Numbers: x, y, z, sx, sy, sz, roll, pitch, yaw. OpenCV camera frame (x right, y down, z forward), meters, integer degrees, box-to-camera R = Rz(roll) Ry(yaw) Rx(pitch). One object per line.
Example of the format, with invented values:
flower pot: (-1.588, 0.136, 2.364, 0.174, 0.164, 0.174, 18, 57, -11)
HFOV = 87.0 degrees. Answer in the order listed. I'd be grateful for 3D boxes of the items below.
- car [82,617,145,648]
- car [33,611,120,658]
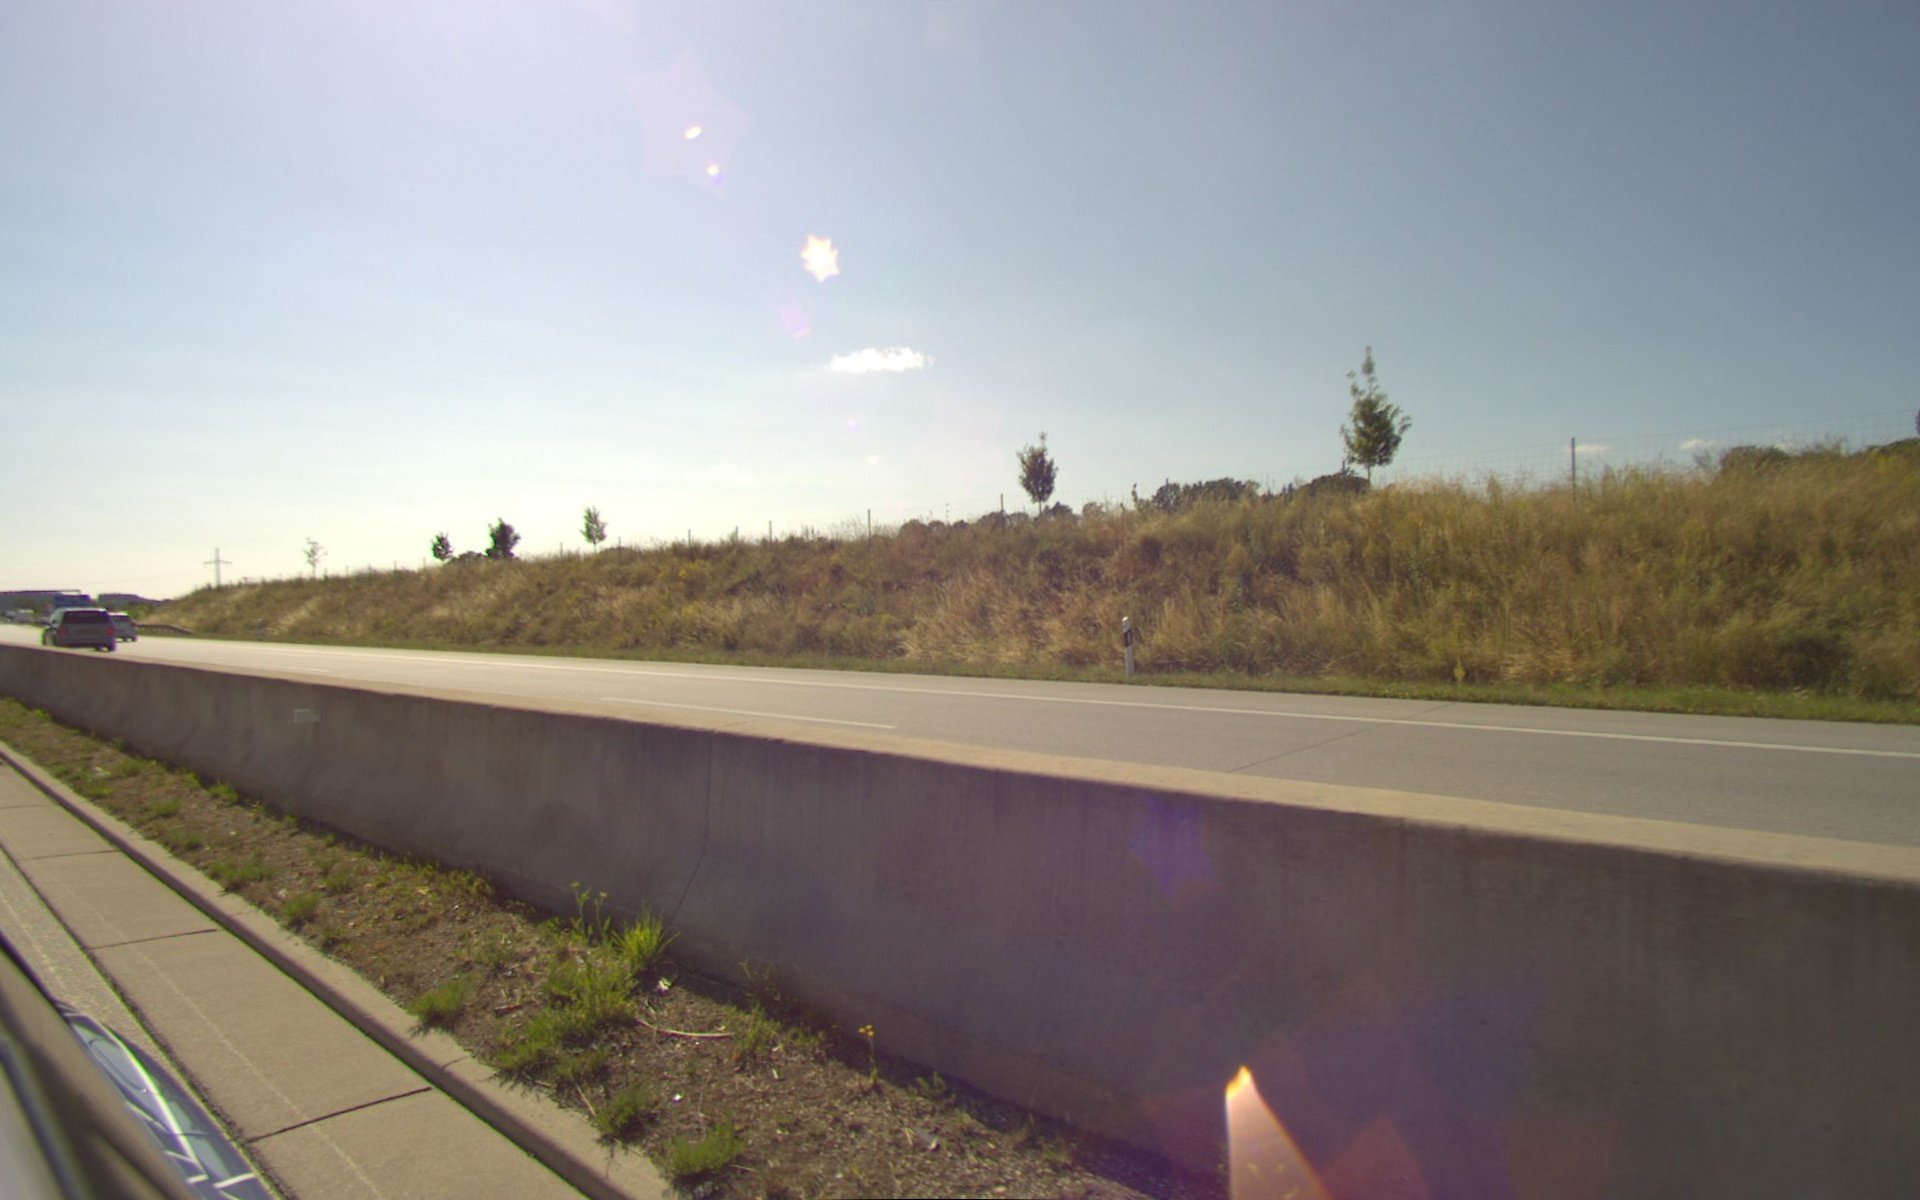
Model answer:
car: (-43.514, 1.642, 51.988, 4.564, 1.513, 1.859, -1, 0, 42)
car: (-32.740, 1.247, 37.451, 4.563, 1.587, 1.859, -1, -1, 41)
